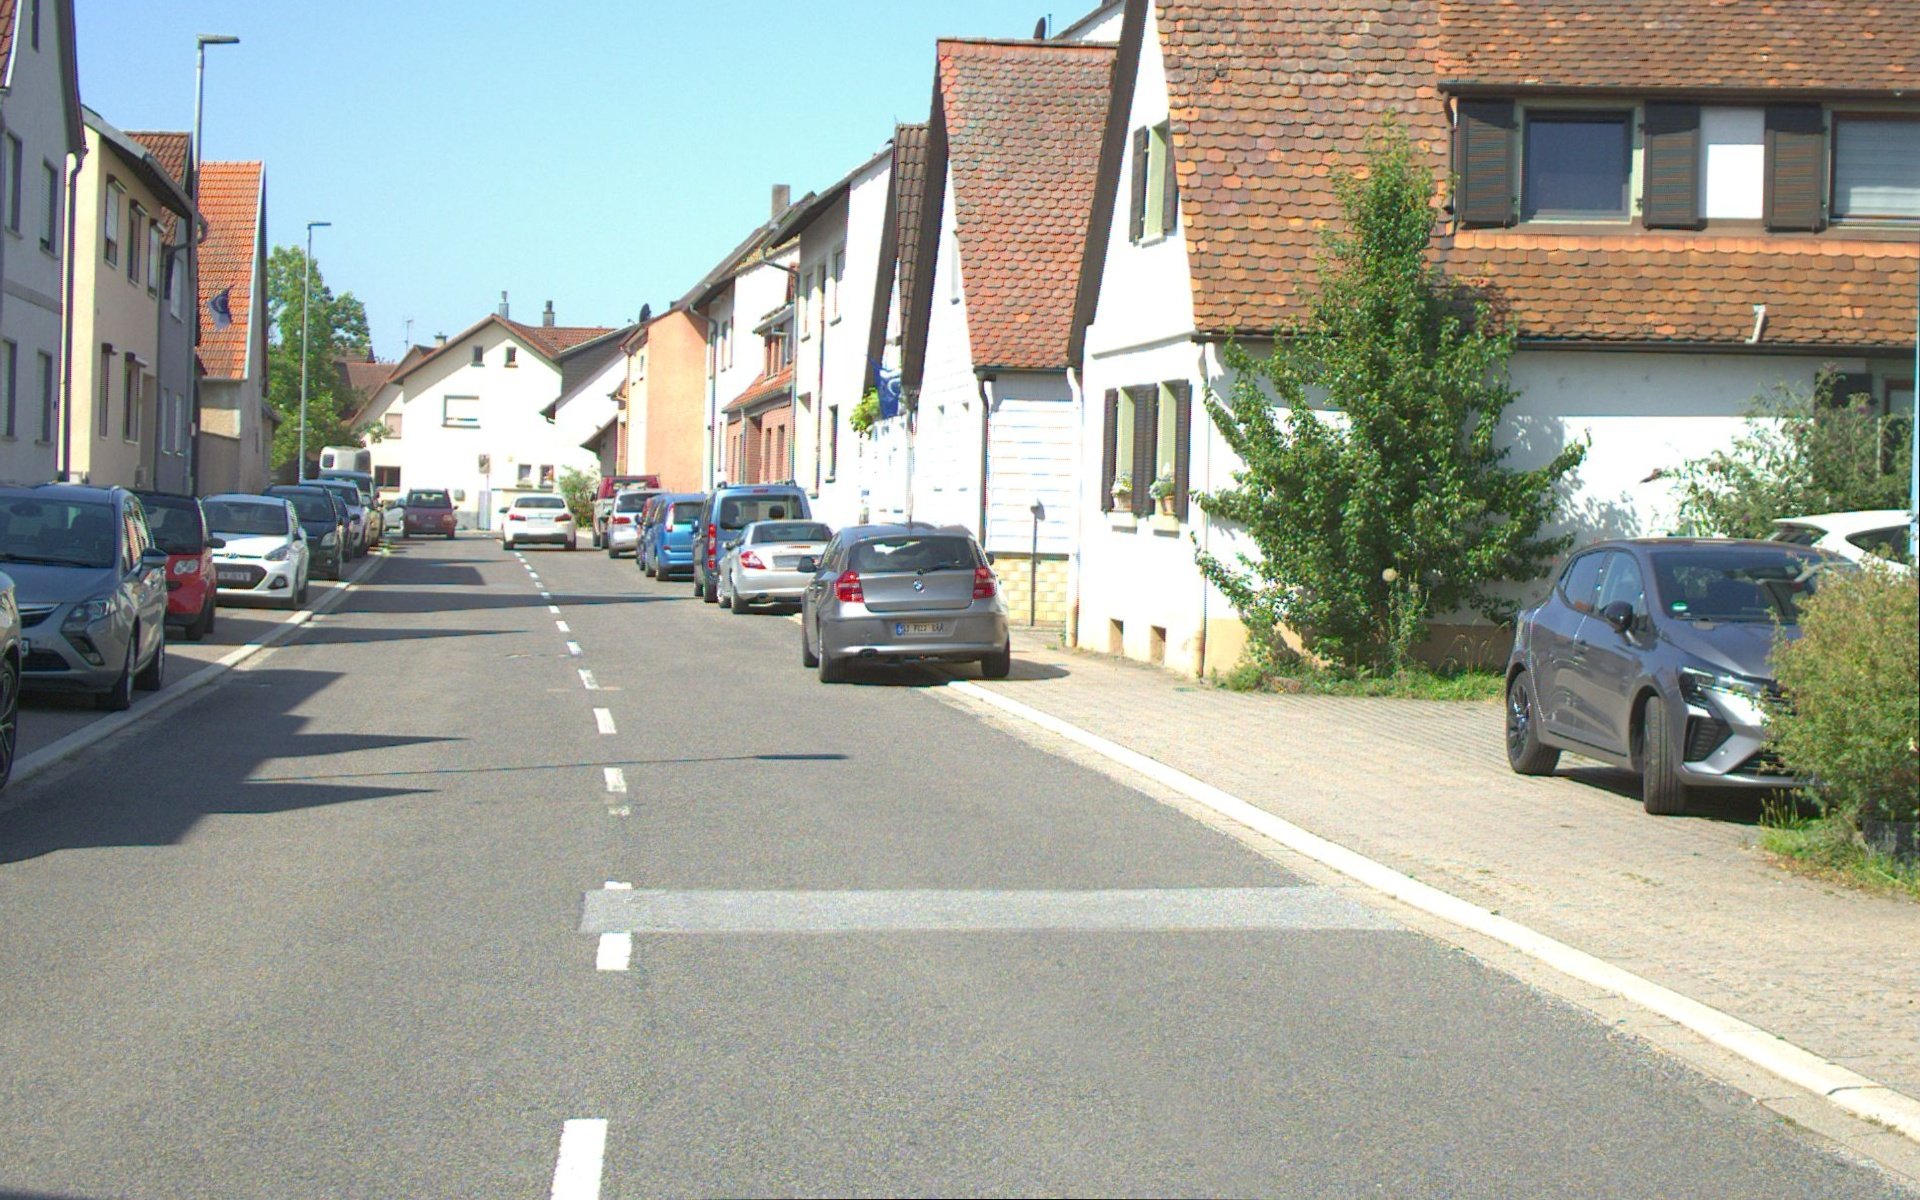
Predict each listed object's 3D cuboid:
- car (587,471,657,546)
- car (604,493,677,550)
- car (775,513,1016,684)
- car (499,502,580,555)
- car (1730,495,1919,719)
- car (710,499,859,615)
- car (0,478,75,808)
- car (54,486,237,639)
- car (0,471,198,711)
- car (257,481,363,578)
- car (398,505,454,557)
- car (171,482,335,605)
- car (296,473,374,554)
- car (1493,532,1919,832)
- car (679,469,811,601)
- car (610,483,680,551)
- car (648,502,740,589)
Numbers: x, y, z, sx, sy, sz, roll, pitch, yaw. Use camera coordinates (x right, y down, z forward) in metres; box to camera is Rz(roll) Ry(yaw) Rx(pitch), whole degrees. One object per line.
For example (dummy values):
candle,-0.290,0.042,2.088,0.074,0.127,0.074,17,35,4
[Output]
car,-9.351,-2.523,94.959,1.766,1.997,3.451,1,1,-7
car,-8.411,-2.049,90.229,1.766,1.428,3.451,1,1,-7
car,-0.667,-0.059,32.088,1.704,1.428,3.891,2,1,-9
car,-10.958,-1.864,89.441,1.993,1.284,4.001,1,1,-8
car,8.294,0.079,26.641,4.174,1.652,1.812,1,1,-1
car,-2.510,-0.631,48.531,1.704,1.491,3.453,3,1,-9
car,-5.679,0.171,16.530,1.920,1.662,4.666,4,1,-5
car,-8.876,-0.433,37.631,1.552,1.539,2.988,3,1,-7
car,-7.033,-0.146,26.198,1.872,1.631,4.665,3,1,-7
car,-11.476,-1.259,60.866,1.618,1.572,3.963,3,1,-9
car,-16.530,-2.146,106.495,1.600,1.484,3.627,3,1,-9
car,-9.736,-0.803,47.612,1.806,1.542,4.405,3,1,-7
car,-13.987,-1.937,77.026,1.527,1.707,3.627,3,1,-9
car,4.244,0.373,18.778,1.689,1.415,4.146,2,1,-4
car,-3.378,-1.017,53.461,1.649,1.903,3.627,3,1,-9
car,-7.517,-1.988,81.865,1.420,1.510,3.305,3,1,-9
car,-4.992,-1.033,64.323,1.420,1.510,3.305,3,1,-9
